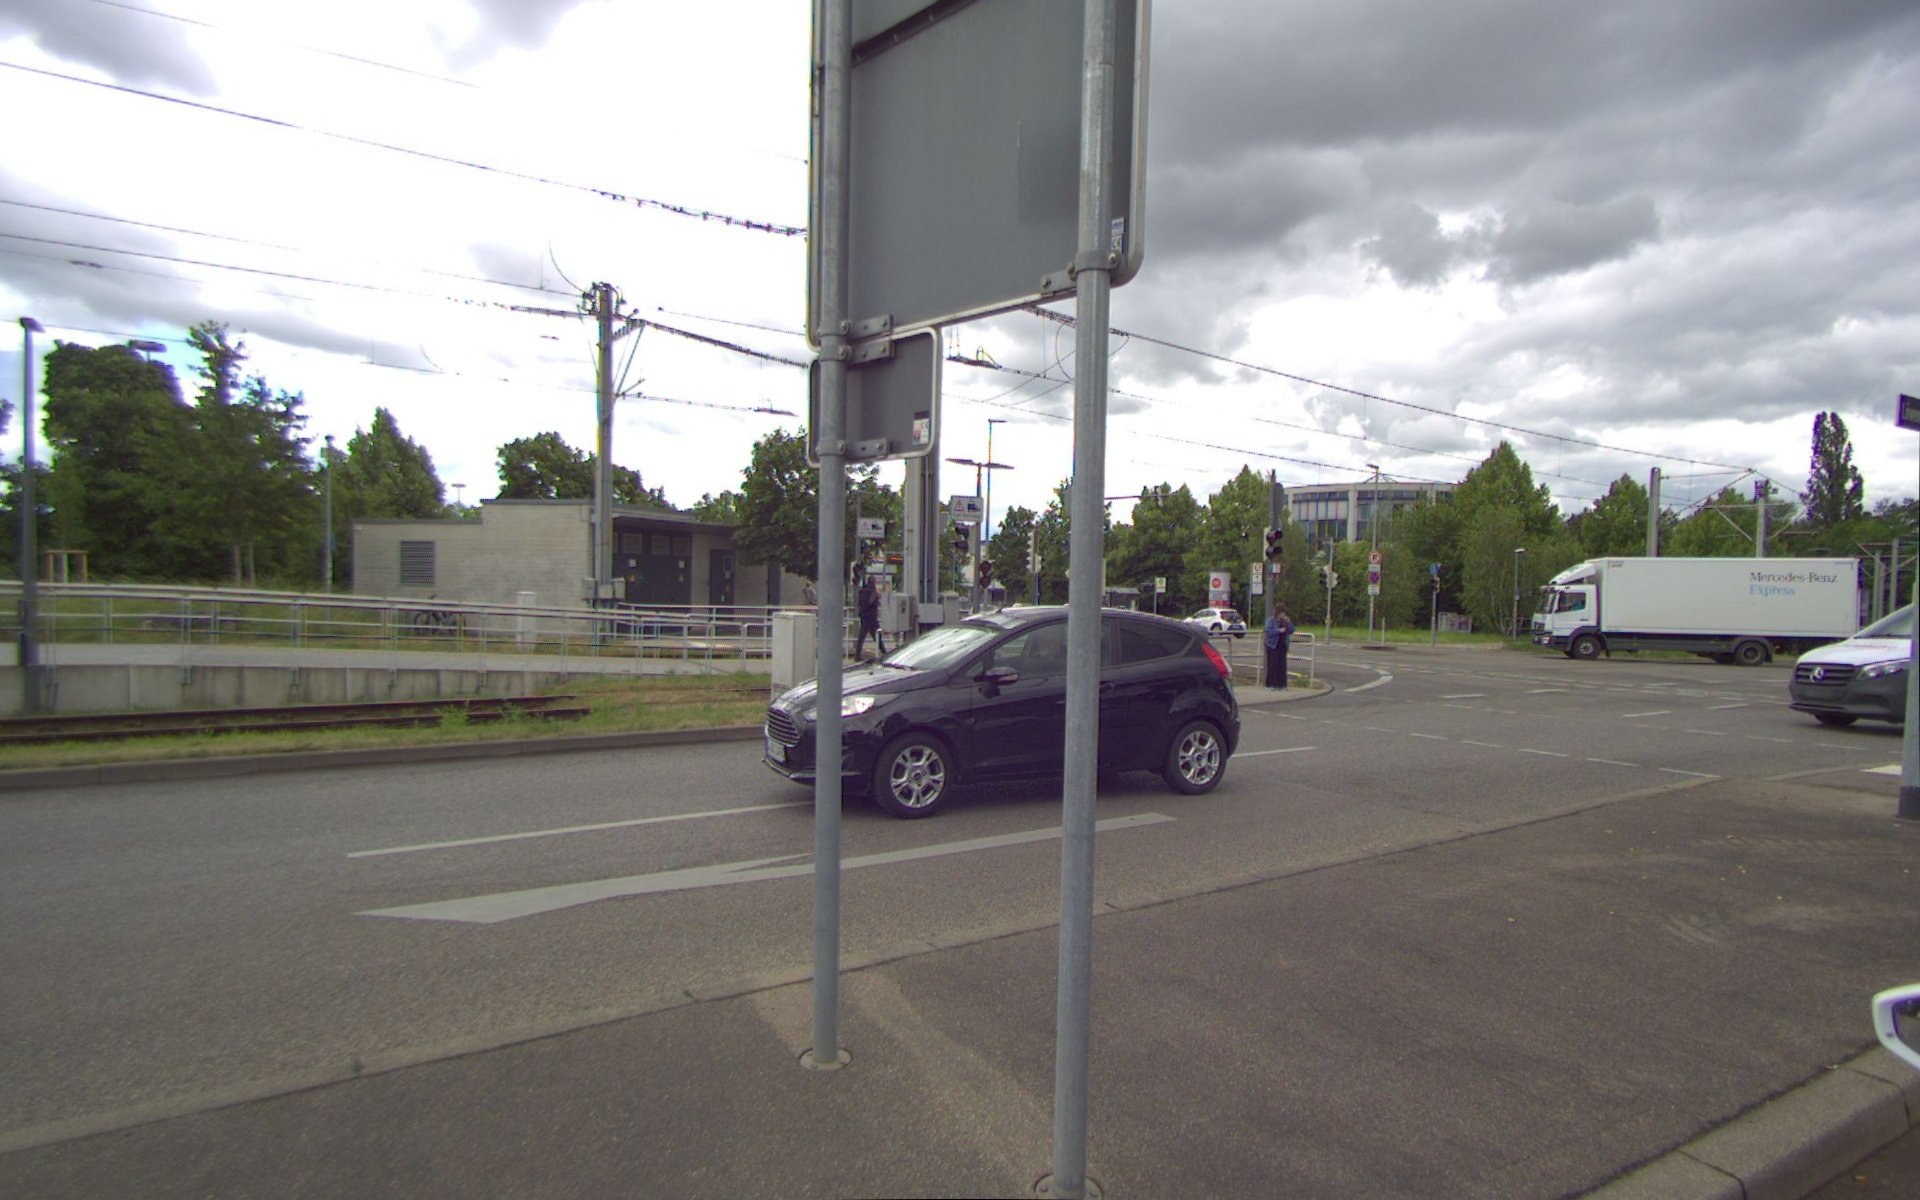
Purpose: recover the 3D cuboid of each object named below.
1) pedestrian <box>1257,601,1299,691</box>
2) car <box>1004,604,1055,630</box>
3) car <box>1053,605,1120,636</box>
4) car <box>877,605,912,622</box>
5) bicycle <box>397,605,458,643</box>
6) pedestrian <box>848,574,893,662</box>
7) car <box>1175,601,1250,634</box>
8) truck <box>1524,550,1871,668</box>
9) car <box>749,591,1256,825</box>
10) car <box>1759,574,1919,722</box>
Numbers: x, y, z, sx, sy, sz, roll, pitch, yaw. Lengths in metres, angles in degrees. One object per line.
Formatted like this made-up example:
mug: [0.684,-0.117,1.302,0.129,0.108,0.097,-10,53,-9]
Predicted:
pedestrian: [5.684,0.812,17.967,0.640,1.577,0.354,-1,2,5]
car: [3.796,0.910,55.245,1.530,1.327,3.276,1,0,-22]
car: [6.098,0.980,48.753,1.496,1.395,3.979,1,0,-22]
car: [-5.356,1.082,81.850,1.697,1.327,3.729,1,0,-22]
bicycle: [-15.176,0.672,28.632,1.762,1.029,0.411,1,1,18]
pedestrian: [-1.941,0.382,21.767,0.785,1.852,0.568,0,1,-33]
car: [13.082,0.865,52.204,1.758,1.528,3.720,-2,1,-27]
truck: [25.361,0.213,35.212,9.314,3.698,2.669,2,1,19]
car: [0.366,0.714,8.025,3.728,1.499,1.628,1,0,-27]
car: [14.273,0.728,13.451,5.326,1.839,2.001,2,-1,6]
